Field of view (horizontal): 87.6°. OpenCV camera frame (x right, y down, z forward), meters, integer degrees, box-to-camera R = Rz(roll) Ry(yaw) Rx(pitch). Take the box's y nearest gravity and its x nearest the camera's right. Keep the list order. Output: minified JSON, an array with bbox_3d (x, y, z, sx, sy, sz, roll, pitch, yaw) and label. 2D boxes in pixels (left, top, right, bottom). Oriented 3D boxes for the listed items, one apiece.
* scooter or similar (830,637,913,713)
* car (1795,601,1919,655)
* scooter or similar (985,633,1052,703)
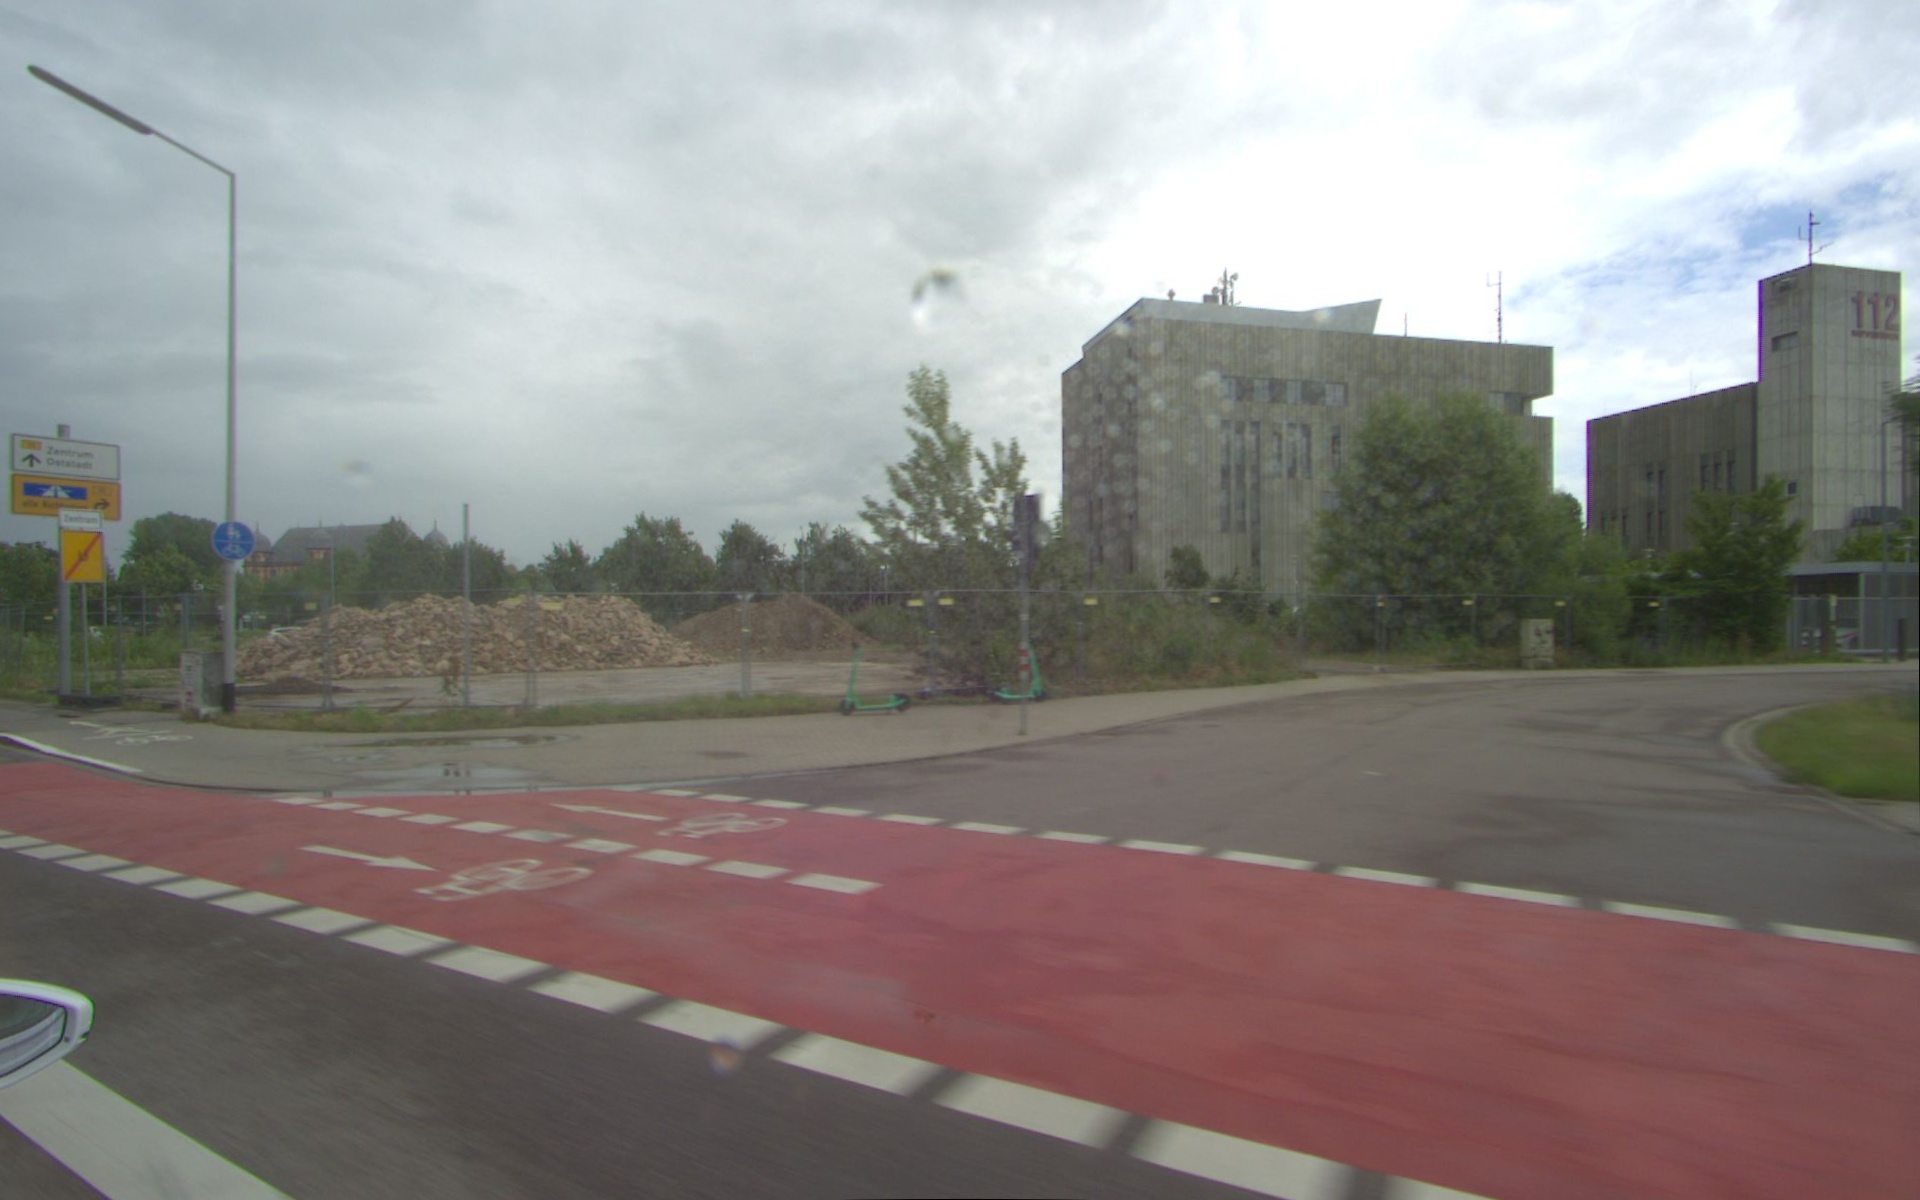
[{"bbox_3d":[-1.454,1.214,16.388,1.302,1.201,0.445,0,0,-15],"label":"scooter or similar"},{"bbox_3d":[35.341,1.069,39.320,3.927,2.040,1.998,0,0,-13],"label":"car"},{"bbox_3d":[1.048,1.204,17.909,1.157,1.201,0.443,0,0,-31],"label":"scooter or similar"}]
